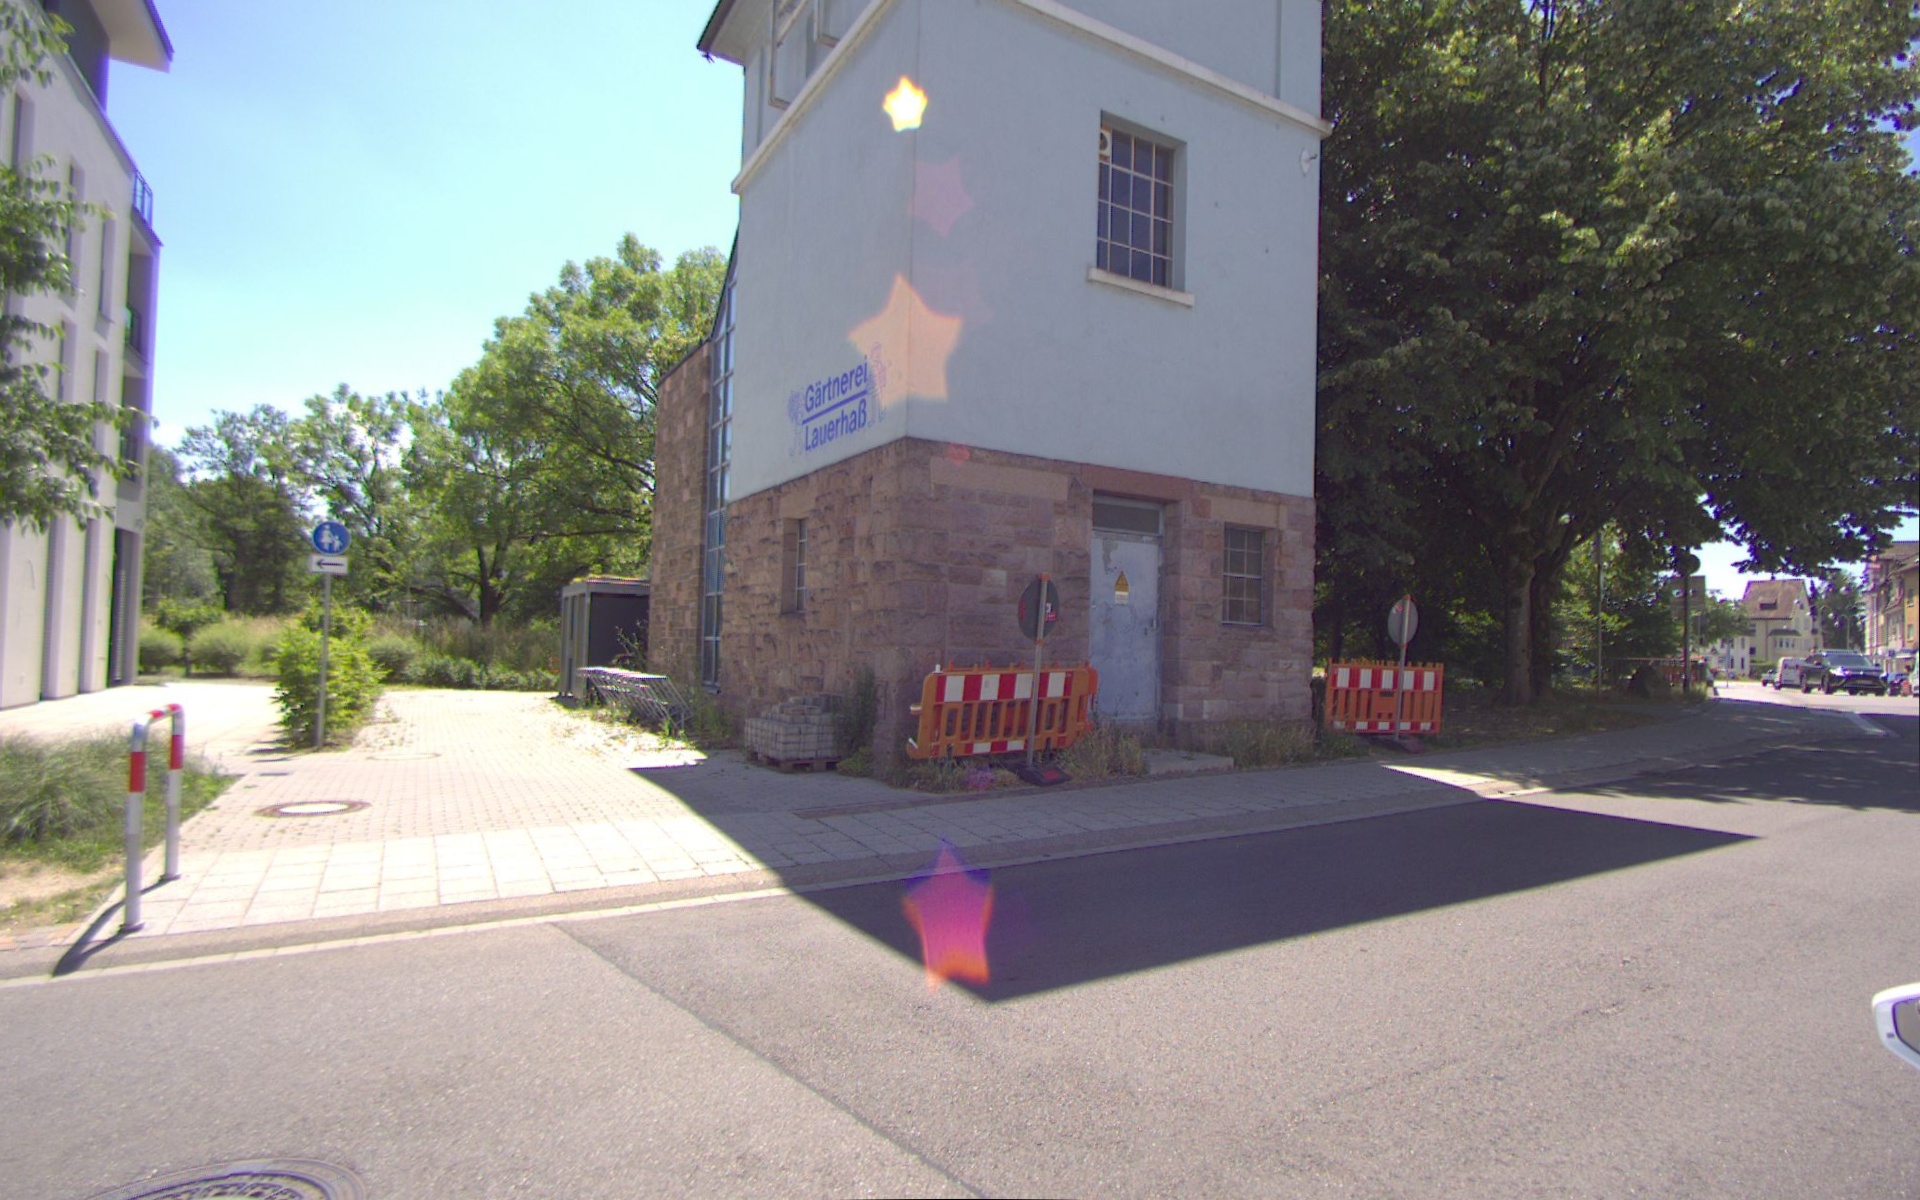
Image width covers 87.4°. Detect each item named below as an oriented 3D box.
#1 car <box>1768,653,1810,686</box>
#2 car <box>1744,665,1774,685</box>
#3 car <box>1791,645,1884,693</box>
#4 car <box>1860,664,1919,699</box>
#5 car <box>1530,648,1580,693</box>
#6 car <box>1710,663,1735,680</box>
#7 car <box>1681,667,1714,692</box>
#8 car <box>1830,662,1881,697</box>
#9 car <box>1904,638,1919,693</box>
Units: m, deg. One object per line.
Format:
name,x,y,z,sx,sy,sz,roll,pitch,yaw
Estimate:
car,65.476,5.442,79.404,2.215,2.374,4.837,1,-1,35
car,90.080,8.392,113.263,1.964,2.040,3.994,0,-2,29
car,35.011,2.725,40.214,1.714,1.795,4.334,-1,-3,27
car,53.532,4.647,57.876,1.967,1.769,4.315,1,-2,35
car,29.648,3.457,50.006,1.966,2.040,3.989,0,-2,33
car,81.501,7.627,107.425,1.967,1.681,3.987,3,-1,36
car,57.588,6.182,78.457,1.967,1.681,3.987,3,-1,36
car,57.715,5.097,64.782,1.967,2.040,3.988,1,-2,35
car,46.975,3.174,48.021,2.105,2.574,4.634,0,-3,36
